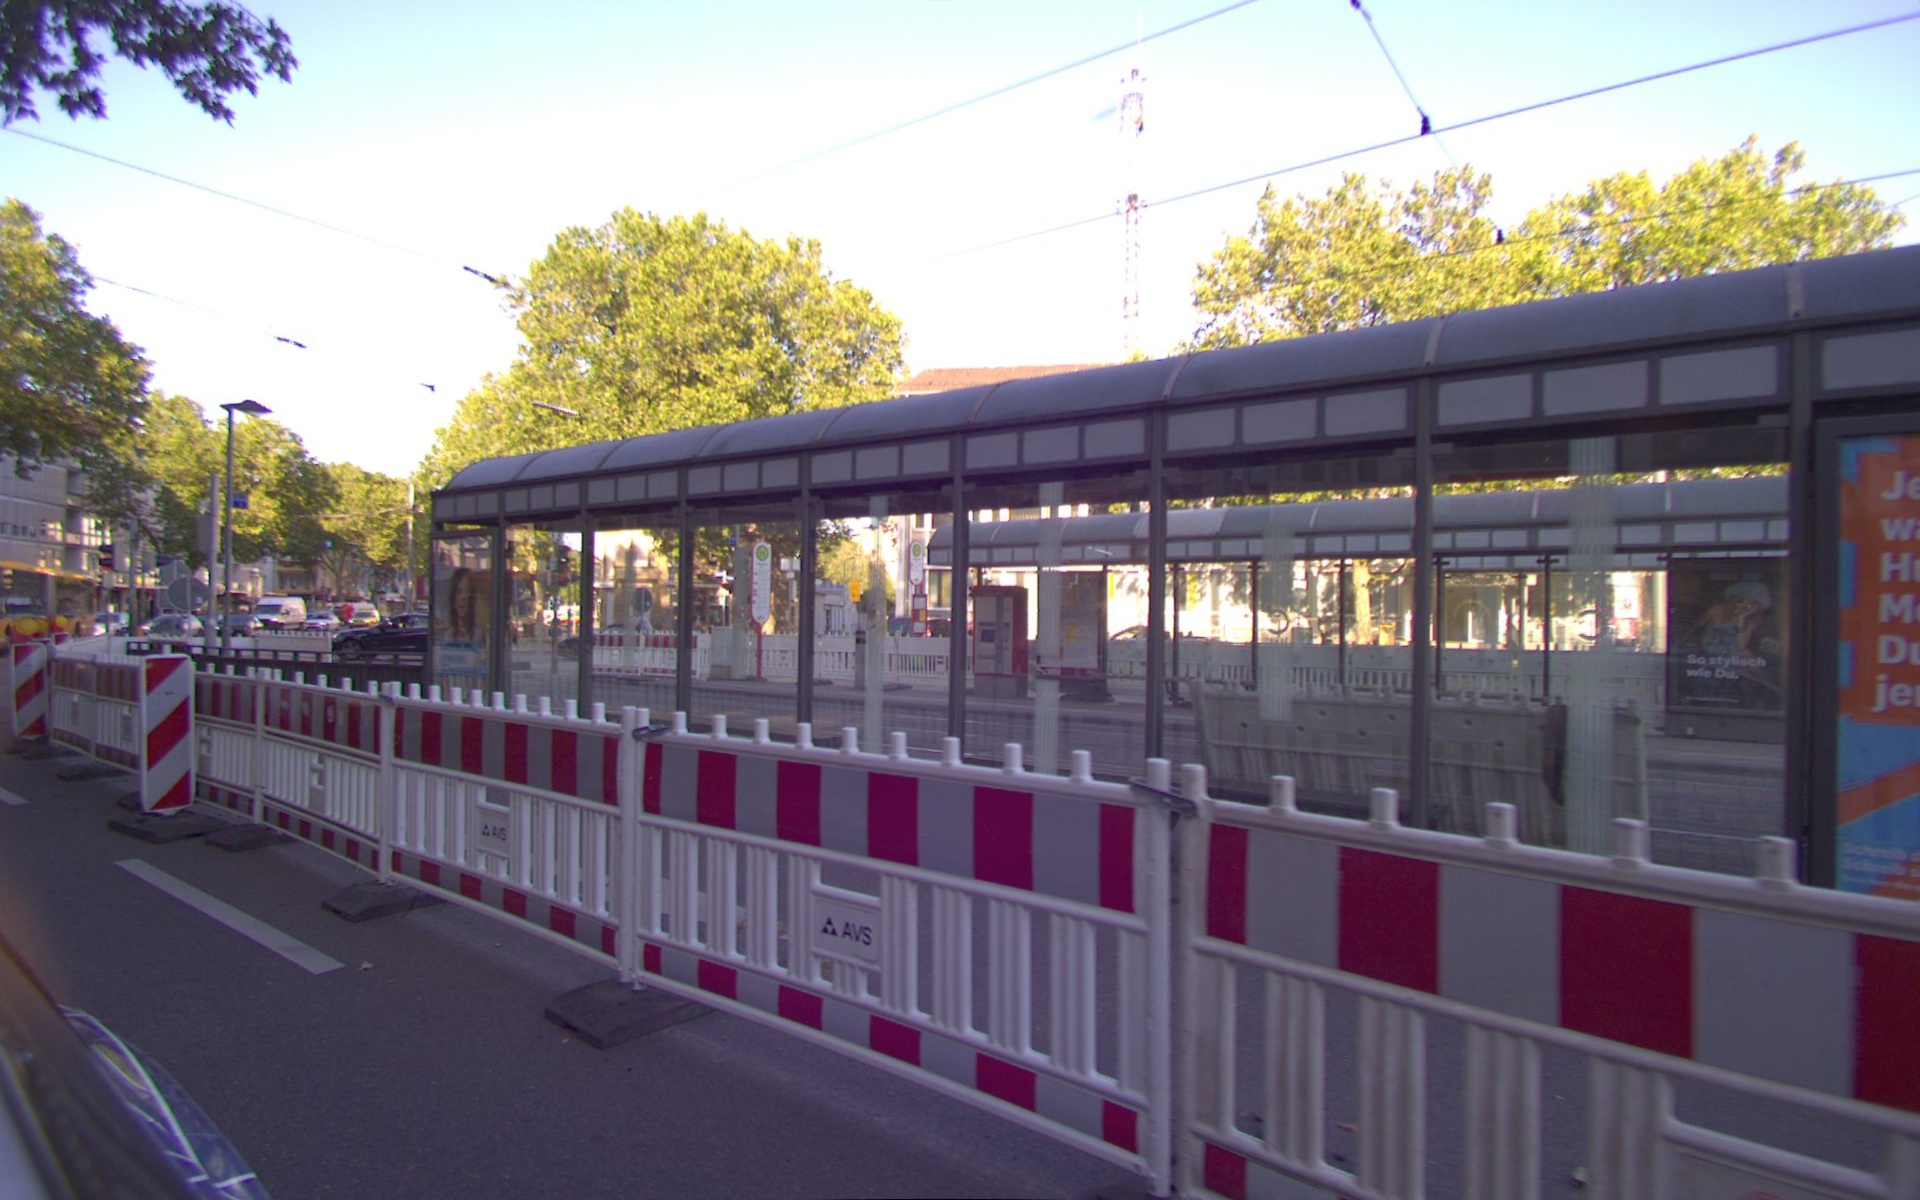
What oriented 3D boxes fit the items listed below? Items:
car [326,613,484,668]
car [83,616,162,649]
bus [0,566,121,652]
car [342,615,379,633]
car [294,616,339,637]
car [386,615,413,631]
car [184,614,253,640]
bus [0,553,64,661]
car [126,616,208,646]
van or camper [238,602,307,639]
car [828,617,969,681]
[{"bbox_3d":[-19.072,1.417,34.975,4.363,1.660,2.005,3,-4,-15],"label":"car"},{"bbox_3d":[-42.785,1.639,51.842,1.965,1.608,4.576,1,-2,-24],"label":"car"},{"bbox_3d":[-38.904,0.443,43.482,2.693,3.231,12.397,-1,-1,-32],"label":"bus"},{"bbox_3d":[-55.796,2.226,94.239,1.966,1.608,4.011,1,-2,-15],"label":"car"},{"bbox_3d":[-52.587,2.162,82.776,1.966,1.608,4.011,1,-1,-14],"label":"car"},{"bbox_3d":[-59.729,2.454,107.888,1.677,1.599,3.717,1,-1,-16],"label":"car"},{"bbox_3d":[-47.315,1.715,64.712,1.966,1.608,4.573,1,-1,-14],"label":"car"},{"bbox_3d":[-32.440,0.320,33.367,2.694,3.231,12.339,-1,-1,-34],"label":"bus"},{"bbox_3d":[-45.258,1.750,57.885,1.966,1.608,4.573,1,-1,-14],"label":"car"},{"bbox_3d":[-50.232,1.494,74.079,2.254,2.558,5.509,1,-1,-13],"label":"van or camper"},{"bbox_3d":[-1.911,1.443,31.124,3.991,1.829,1.976,-1,-1,35],"label":"car"}]
